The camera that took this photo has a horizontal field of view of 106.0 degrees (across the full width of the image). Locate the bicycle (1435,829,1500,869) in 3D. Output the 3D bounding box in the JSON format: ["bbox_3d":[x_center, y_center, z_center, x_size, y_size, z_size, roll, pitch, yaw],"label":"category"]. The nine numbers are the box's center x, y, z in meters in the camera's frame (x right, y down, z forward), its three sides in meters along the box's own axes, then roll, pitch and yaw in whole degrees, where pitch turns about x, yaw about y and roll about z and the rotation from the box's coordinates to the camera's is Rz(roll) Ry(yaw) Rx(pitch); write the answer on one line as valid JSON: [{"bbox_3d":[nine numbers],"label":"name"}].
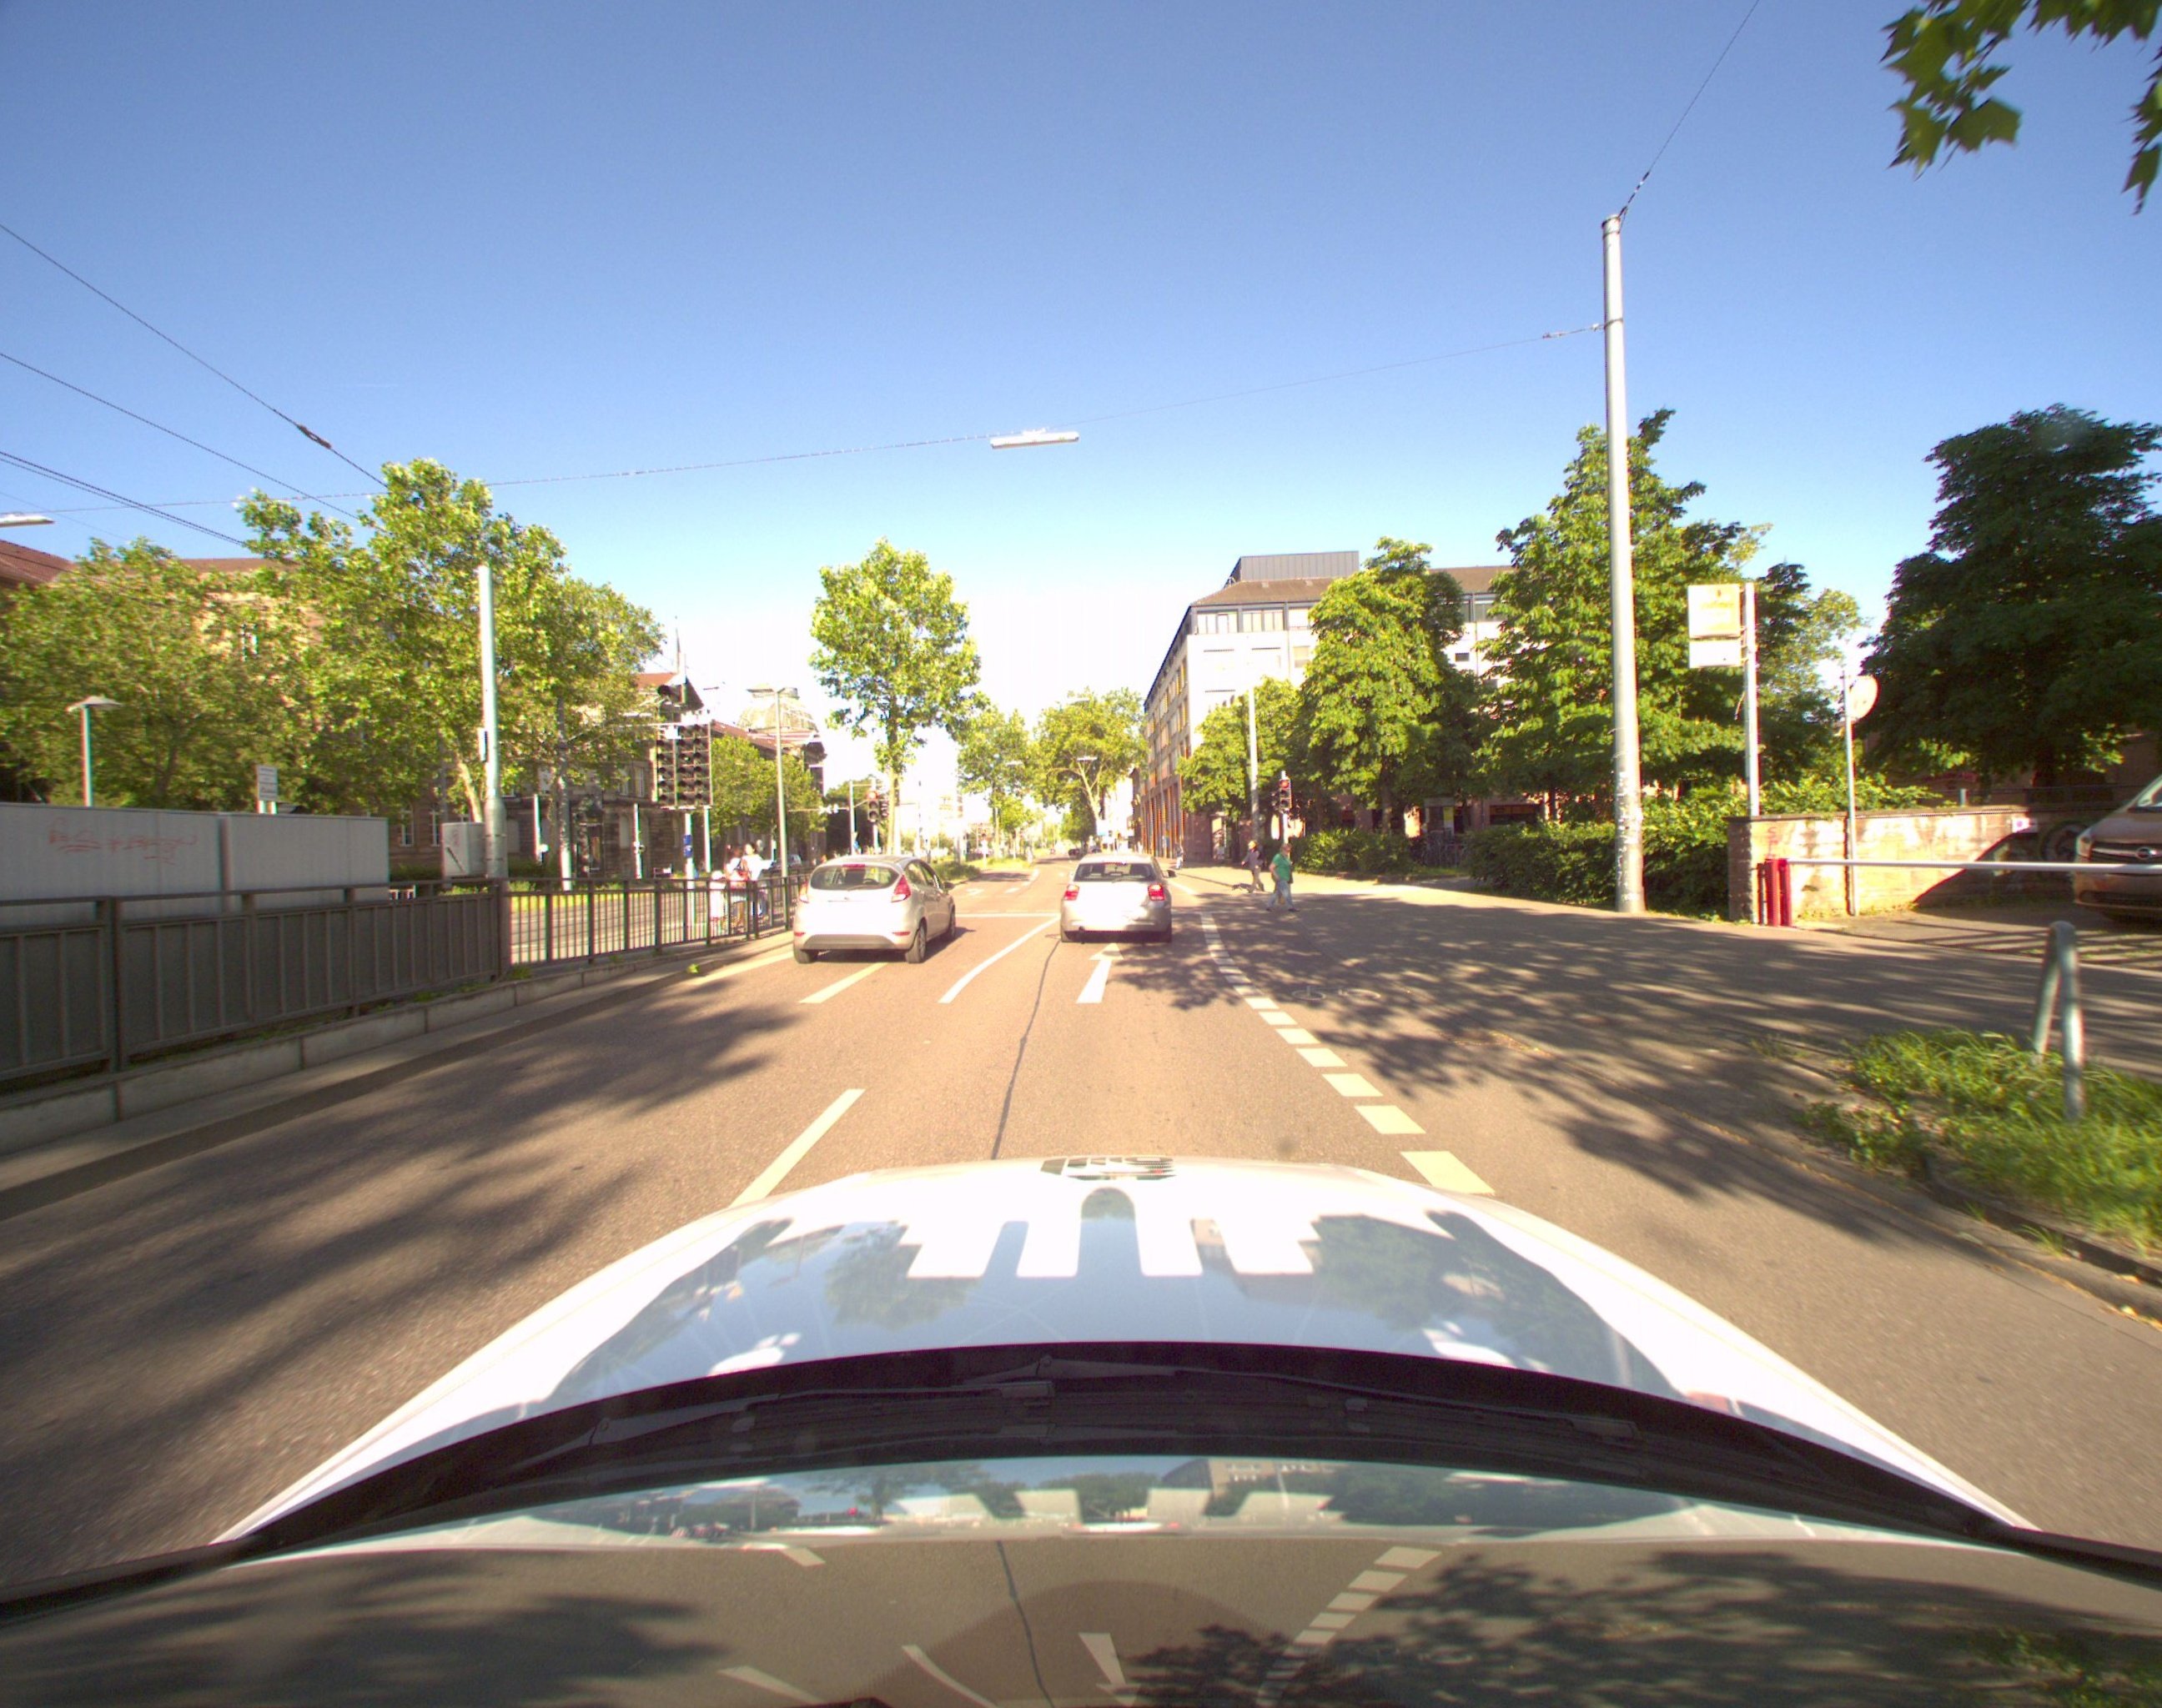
[{"bbox_3d":[13.873,-0.175,29.255,1.988,1.314,0.574,-4,0,2],"label":"bicycle"}]

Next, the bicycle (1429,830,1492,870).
[{"bbox_3d":[14.041,-0.150,30.176,1.988,1.314,0.574,-4,0,2],"label":"bicycle"}]

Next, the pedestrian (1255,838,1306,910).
[{"bbox_3d":[4.497,0.447,18.333,0.821,1.575,0.744,-3,0,37],"label":"pedestrian"}]

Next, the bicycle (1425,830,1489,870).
[{"bbox_3d":[13.633,-0.155,29.573,1.988,1.314,0.574,-4,0,2],"label":"bicycle"}]

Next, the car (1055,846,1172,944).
[{"bbox_3d":[0.696,0.599,14.104,1.721,1.390,3.847,-1,1,7],"label":"car"}]

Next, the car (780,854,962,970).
[{"bbox_3d":[-2.907,0.730,12.041,1.654,1.409,3.633,-1,0,1],"label":"car"}]

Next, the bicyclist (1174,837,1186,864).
[{"bbox_3d":[6.140,-0.215,50.375,0.654,1.657,0.767,-3,0,8],"label":"bicyclist"}]

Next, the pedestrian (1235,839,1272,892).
[{"bbox_3d":[5.480,0.364,25.874,0.942,1.629,0.626,-1,0,-13],"label":"pedestrian"}]

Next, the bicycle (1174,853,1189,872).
[{"bbox_3d":[6.199,0.514,50.315,0.827,1.041,1.879,-3,0,9],"label":"bicycle"}]

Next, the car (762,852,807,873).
[{"bbox_3d":[-24.195,0.662,66.587,1.985,1.625,4.004,-2,0,3],"label":"car"}]

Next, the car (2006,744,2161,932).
[{"bbox_3d":[13.812,-0.367,9.030,4.882,1.984,1.912,-5,0,-1],"label":"car"}]

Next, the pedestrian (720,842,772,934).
[{"bbox_3d":[-5.926,0.585,14.436,0.630,1.557,0.646,-2,0,-5],"label":"pedestrian"}]

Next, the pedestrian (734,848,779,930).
[{"bbox_3d":[-6.571,0.709,16.535,0.638,1.619,0.640,-2,-2,-4],"label":"pedestrian"}]
